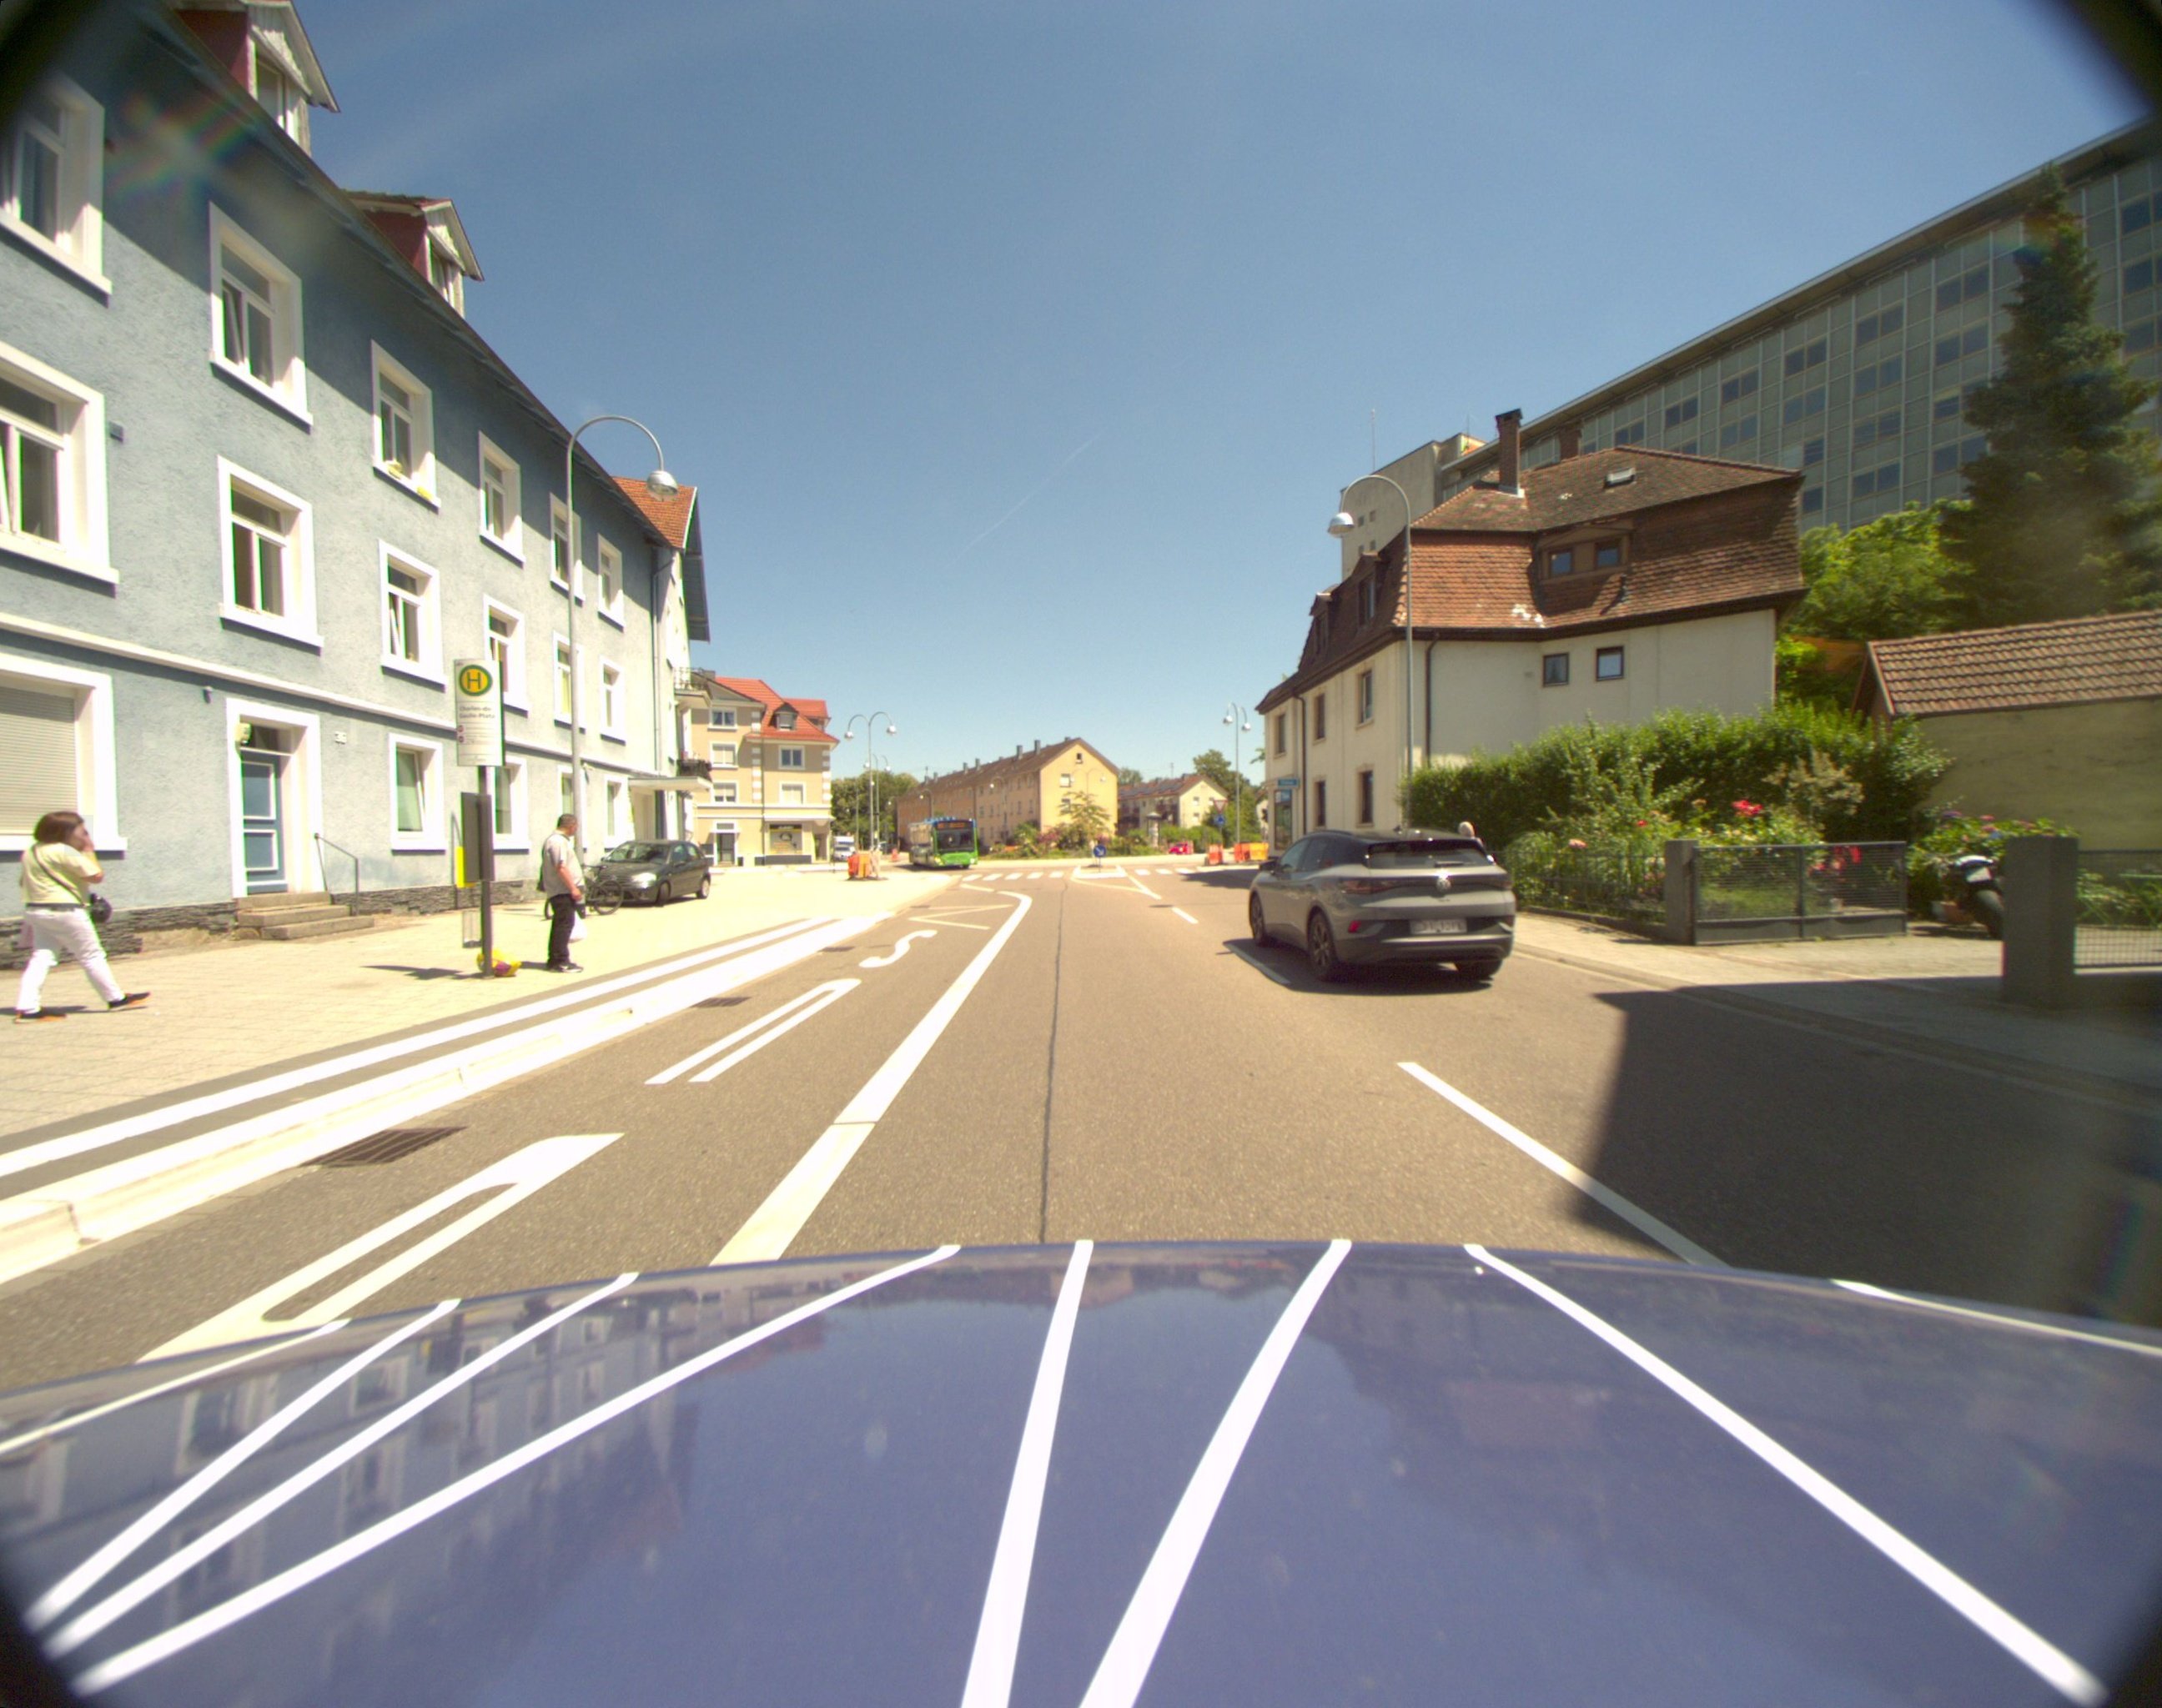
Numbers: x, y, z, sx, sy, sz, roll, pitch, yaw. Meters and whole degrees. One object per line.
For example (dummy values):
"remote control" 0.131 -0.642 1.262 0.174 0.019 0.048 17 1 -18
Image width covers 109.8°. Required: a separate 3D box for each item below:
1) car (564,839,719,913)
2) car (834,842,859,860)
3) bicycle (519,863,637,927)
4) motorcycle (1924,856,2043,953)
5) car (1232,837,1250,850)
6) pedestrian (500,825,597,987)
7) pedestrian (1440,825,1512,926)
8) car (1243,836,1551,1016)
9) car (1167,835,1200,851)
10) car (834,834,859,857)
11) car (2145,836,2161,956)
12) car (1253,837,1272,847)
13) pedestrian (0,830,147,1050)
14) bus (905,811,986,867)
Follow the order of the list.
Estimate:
"car" -10.255 0.439 18.070 1.763 1.505 3.738 3 1 -6
"car" -20.481 -0.281 66.224 1.829 1.403 3.991 1 2 -21
"bicycle" -9.218 0.712 14.014 0.632 1.033 1.885 3 1 12
"motorcycle" 11.859 0.602 10.057 0.714 1.099 2.149 0 2 42
"car" 17.255 -1.144 81.813 1.728 1.288 4.003 -2 1 14
"pedestrian" -6.162 0.585 8.829 0.751 1.795 0.614 2 2 -21
"pedestrian" 6.489 0.340 12.512 0.615 1.556 0.824 -6 2 -3
"car" 3.333 0.624 9.059 1.858 1.607 4.295 -1 1 0
"car" 10.633 -1.143 78.660 1.731 1.592 3.944 -1 2 37
"car" -27.090 -0.963 87.678 2.345 2.442 5.723 1 0 -22
"car" 14.304 0.492 7.856 3.997 1.372 1.868 0 1 -1
"car" 24.492 -1.591 102.274 1.781 1.348 4.060 0 1 24
"pedestrian" -8.141 0.626 6.001 0.615 1.606 0.751 2 1 10
"bus" -9.069 -0.864 49.236 2.915 3.062 12.540 -2 1 -20
